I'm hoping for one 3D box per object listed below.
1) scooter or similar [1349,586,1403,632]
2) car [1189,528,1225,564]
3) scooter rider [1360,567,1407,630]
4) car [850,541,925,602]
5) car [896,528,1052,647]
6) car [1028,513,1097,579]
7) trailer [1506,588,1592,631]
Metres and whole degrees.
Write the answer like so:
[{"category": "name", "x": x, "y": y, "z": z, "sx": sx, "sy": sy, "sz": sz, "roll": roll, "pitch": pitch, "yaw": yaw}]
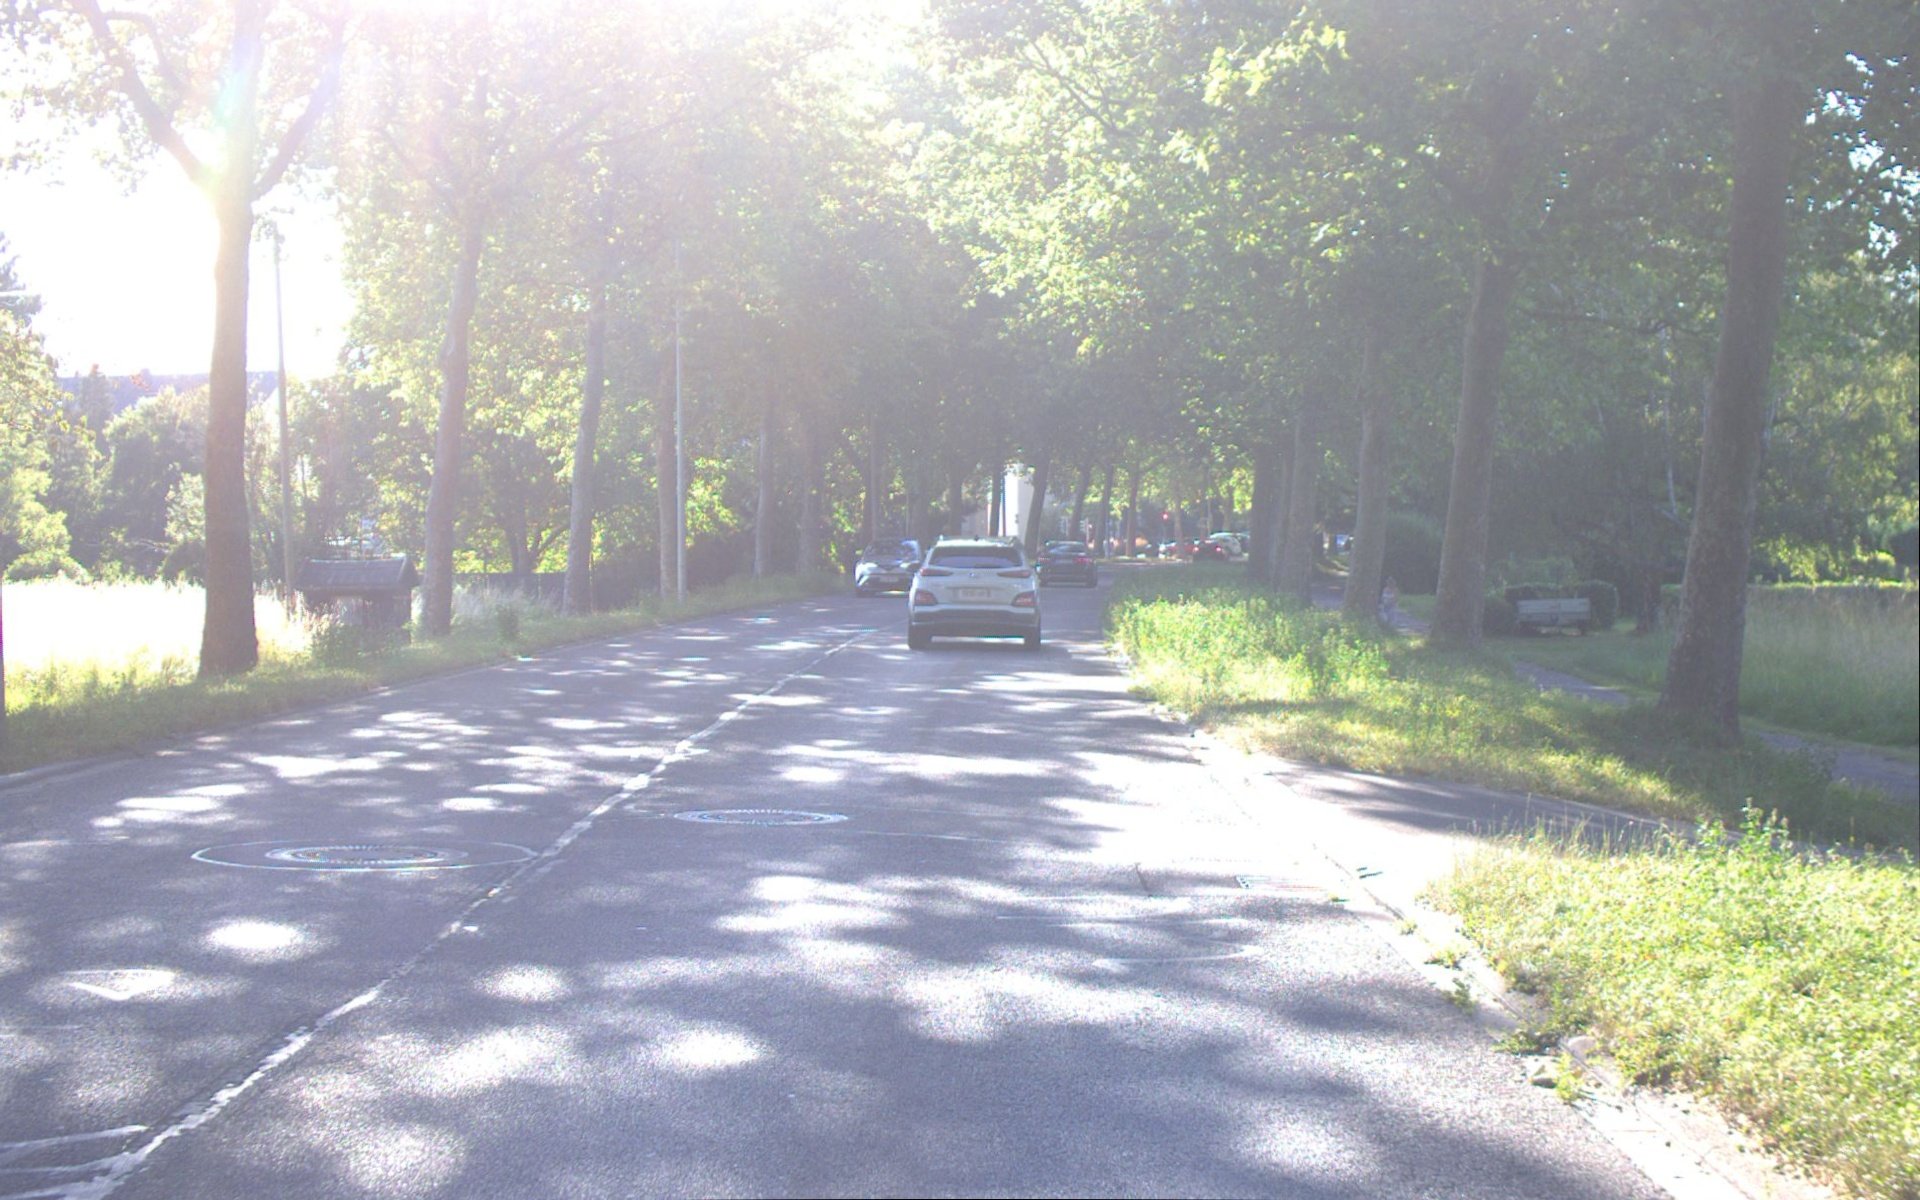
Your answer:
[{"category": "scooter or similar", "x": 10.417, "y": 0.225, "z": 86.055, "sx": 1.595, "sy": 1.131, "sz": 0.341, "roll": 0, "pitch": 1, "yaw": -41}, {"category": "car", "x": 14.245, "y": -3.097, "z": 198.194, "sx": 1.994, "sy": 2.007, "sz": 3.999, "roll": 1, "pitch": 1, "yaw": 4}, {"category": "scooter rider", "x": 10.608, "y": -0.039, "z": 86.160, "sx": 0.842, "sy": 1.571, "sz": 0.784, "roll": 0, "pitch": 1, "yaw": -40}, {"category": "car", "x": -1.847, "y": -0.739, "z": 88.769, "sx": 1.715, "sy": 1.500, "sz": 4.000, "roll": 1, "pitch": 1, "yaw": 2}, {"category": "car", "x": 0.242, "y": -0.192, "z": 47.999, "sx": 1.994, "sy": 1.569, "sz": 4.000, "roll": 1, "pitch": 1, "yaw": 3}, {"category": "car", "x": 3.216, "y": -1.663, "z": 107.163, "sx": 1.994, "sy": 2.007, "sz": 4.000, "roll": 1, "pitch": 1, "yaw": 3}, {"category": "trailer", "x": 15.227, "y": 0.244, "z": 88.945, "sx": 2.118, "sy": 1.049, "sz": 1.200, "roll": 1, "pitch": 0, "yaw": 8}]
